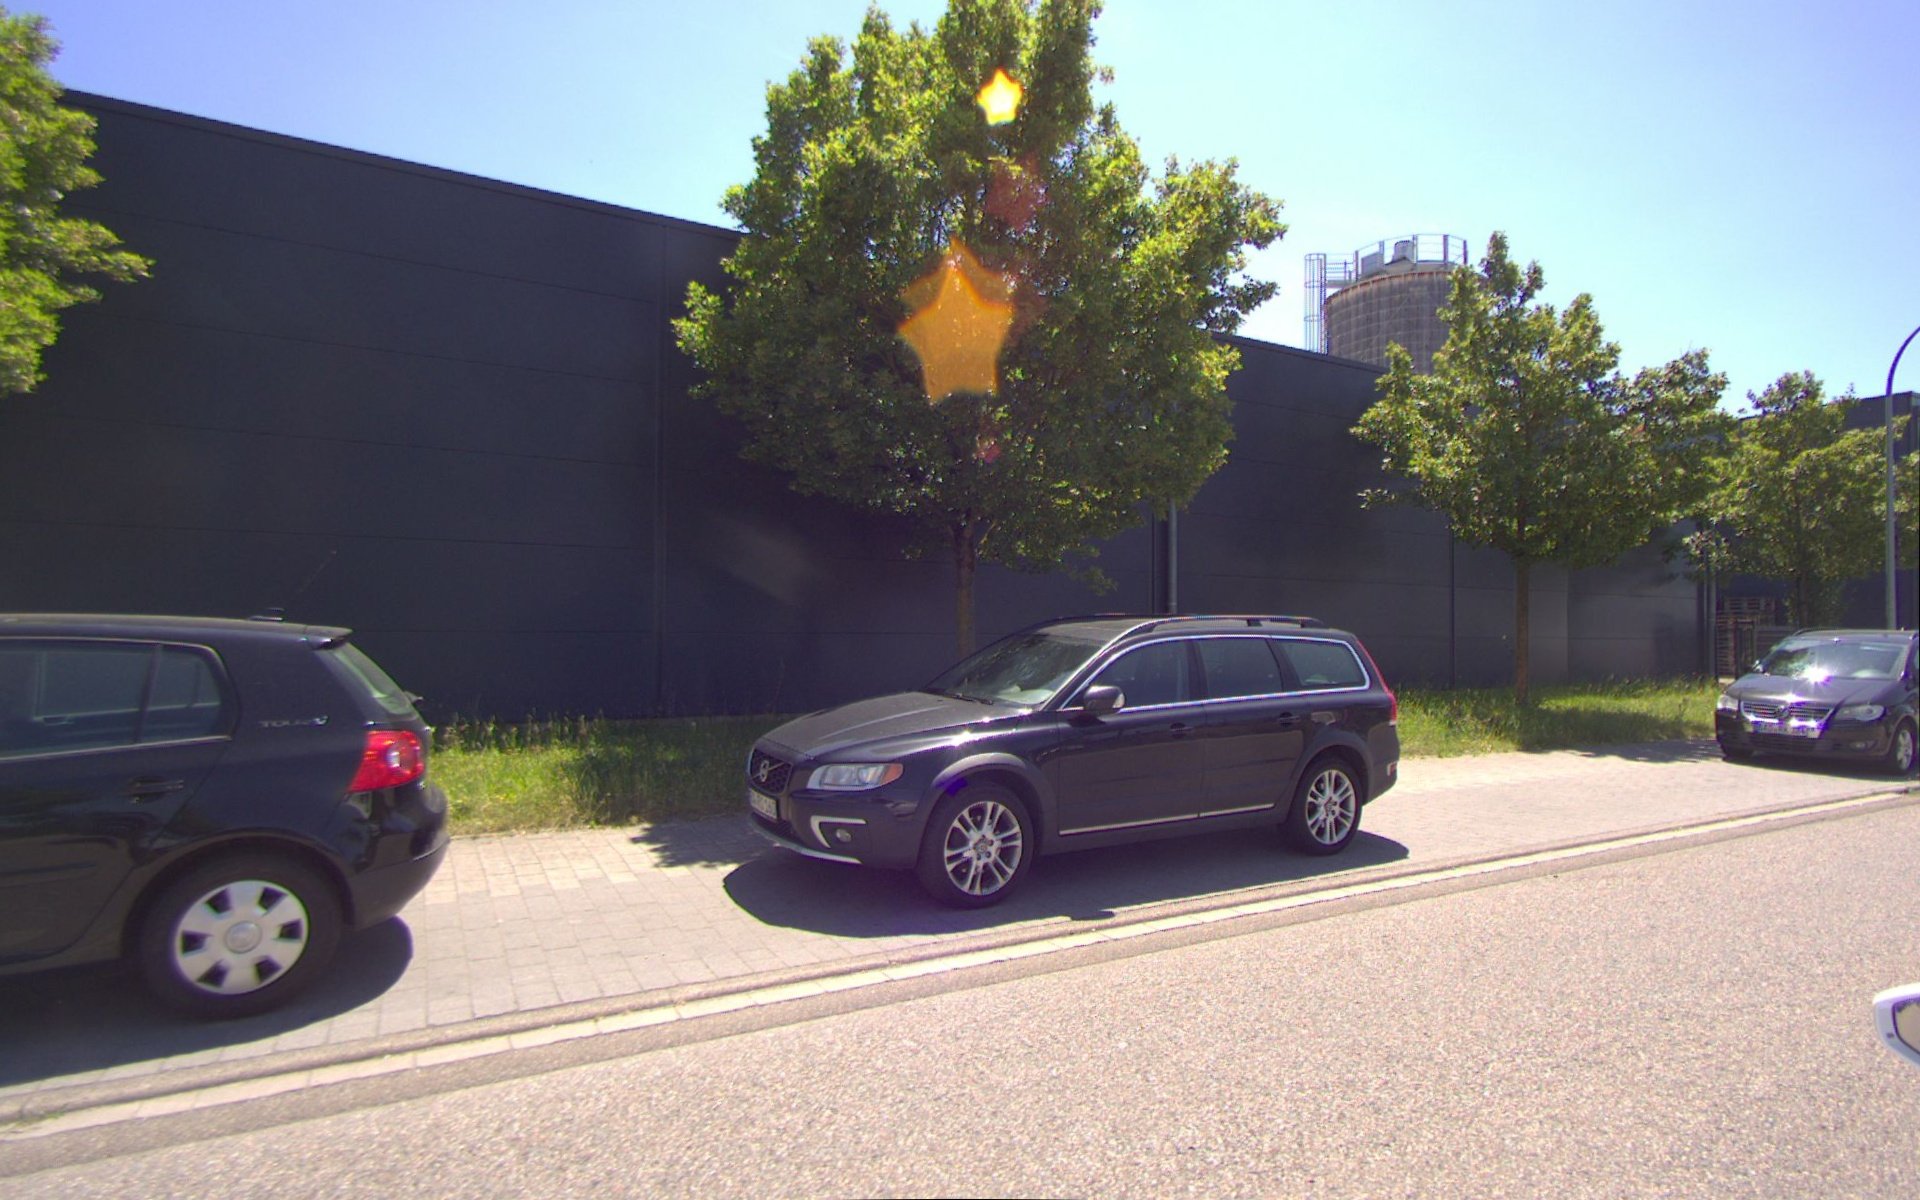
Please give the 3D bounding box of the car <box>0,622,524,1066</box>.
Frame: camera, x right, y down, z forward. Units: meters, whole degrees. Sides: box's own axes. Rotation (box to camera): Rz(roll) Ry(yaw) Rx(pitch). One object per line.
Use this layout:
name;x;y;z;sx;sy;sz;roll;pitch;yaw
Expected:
car;-4.031;0.813;3.830;4.153;1.450;1.762;2;-1;-31

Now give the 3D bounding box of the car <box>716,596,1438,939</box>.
car;0.971;0.864;6.799;4.797;1.633;1.762;2;-1;-31

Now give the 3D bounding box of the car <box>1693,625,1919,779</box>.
car;11.216;1.160;12.633;4.199;1.633;1.762;2;-1;-31
